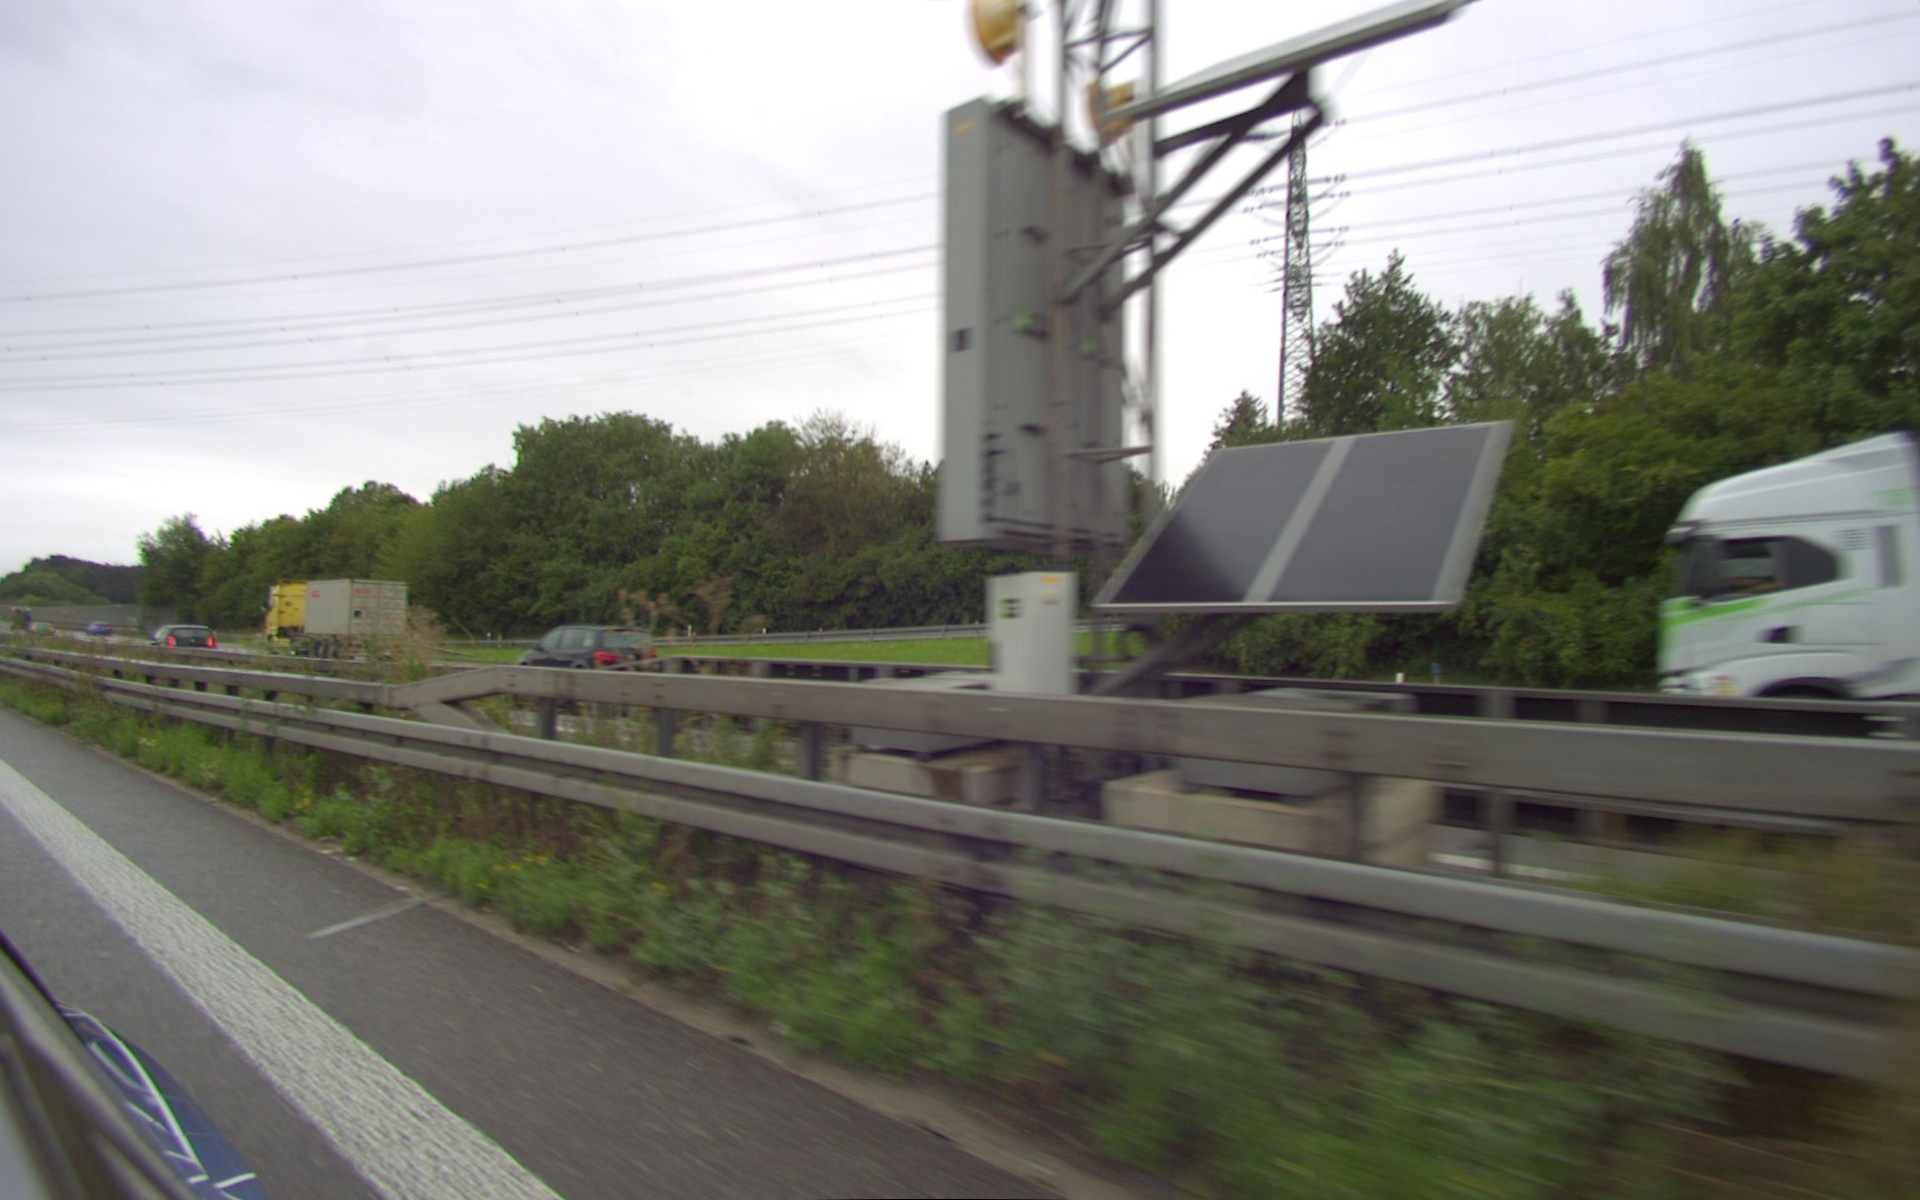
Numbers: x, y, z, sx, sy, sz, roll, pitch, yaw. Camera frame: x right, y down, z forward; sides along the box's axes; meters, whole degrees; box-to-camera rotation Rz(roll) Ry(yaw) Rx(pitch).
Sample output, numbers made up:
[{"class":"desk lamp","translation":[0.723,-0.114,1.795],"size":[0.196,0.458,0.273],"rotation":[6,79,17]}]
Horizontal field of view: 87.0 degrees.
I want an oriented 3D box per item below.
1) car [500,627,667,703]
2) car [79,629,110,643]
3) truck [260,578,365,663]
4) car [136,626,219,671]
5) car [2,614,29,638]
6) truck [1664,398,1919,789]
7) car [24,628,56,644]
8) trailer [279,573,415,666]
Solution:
[{"class":"car","translation":[-9.037,1.478,24.111],"size":[4.470,1.651,1.805],"rotation":[-2,-3,41]},{"class":"car","translation":[-100.002,4.184,116.900],"size":[3.995,1.555,1.949],"rotation":[-1,-2,39]},{"class":"truck","translation":[-32.995,1.117,51.494],"size":[6.153,4.086,2.733],"rotation":[-2,-4,41]},{"class":"car","translation":[-28.655,1.747,37.037],"size":[3.998,1.554,1.647],"rotation":[-2,-3,41]},{"class":"car","translation":[-133.821,3.710,143.363],"size":[6.173,3.353,2.230],"rotation":[-1,-3,42]},{"class":"truck","translation":[11.134,-0.043,12.232],"size":[3.998,4.269,2.616],"rotation":[-2,-2,41]},{"class":"car","translation":[-92.281,3.619,101.512],"size":[4.512,1.505,1.855],"rotation":[-1,-3,42]},{"class":"trailer","translation":[-29.391,1.008,48.311],"size":[9.195,4.086,2.733],"rotation":[-2,-4,41]}]
